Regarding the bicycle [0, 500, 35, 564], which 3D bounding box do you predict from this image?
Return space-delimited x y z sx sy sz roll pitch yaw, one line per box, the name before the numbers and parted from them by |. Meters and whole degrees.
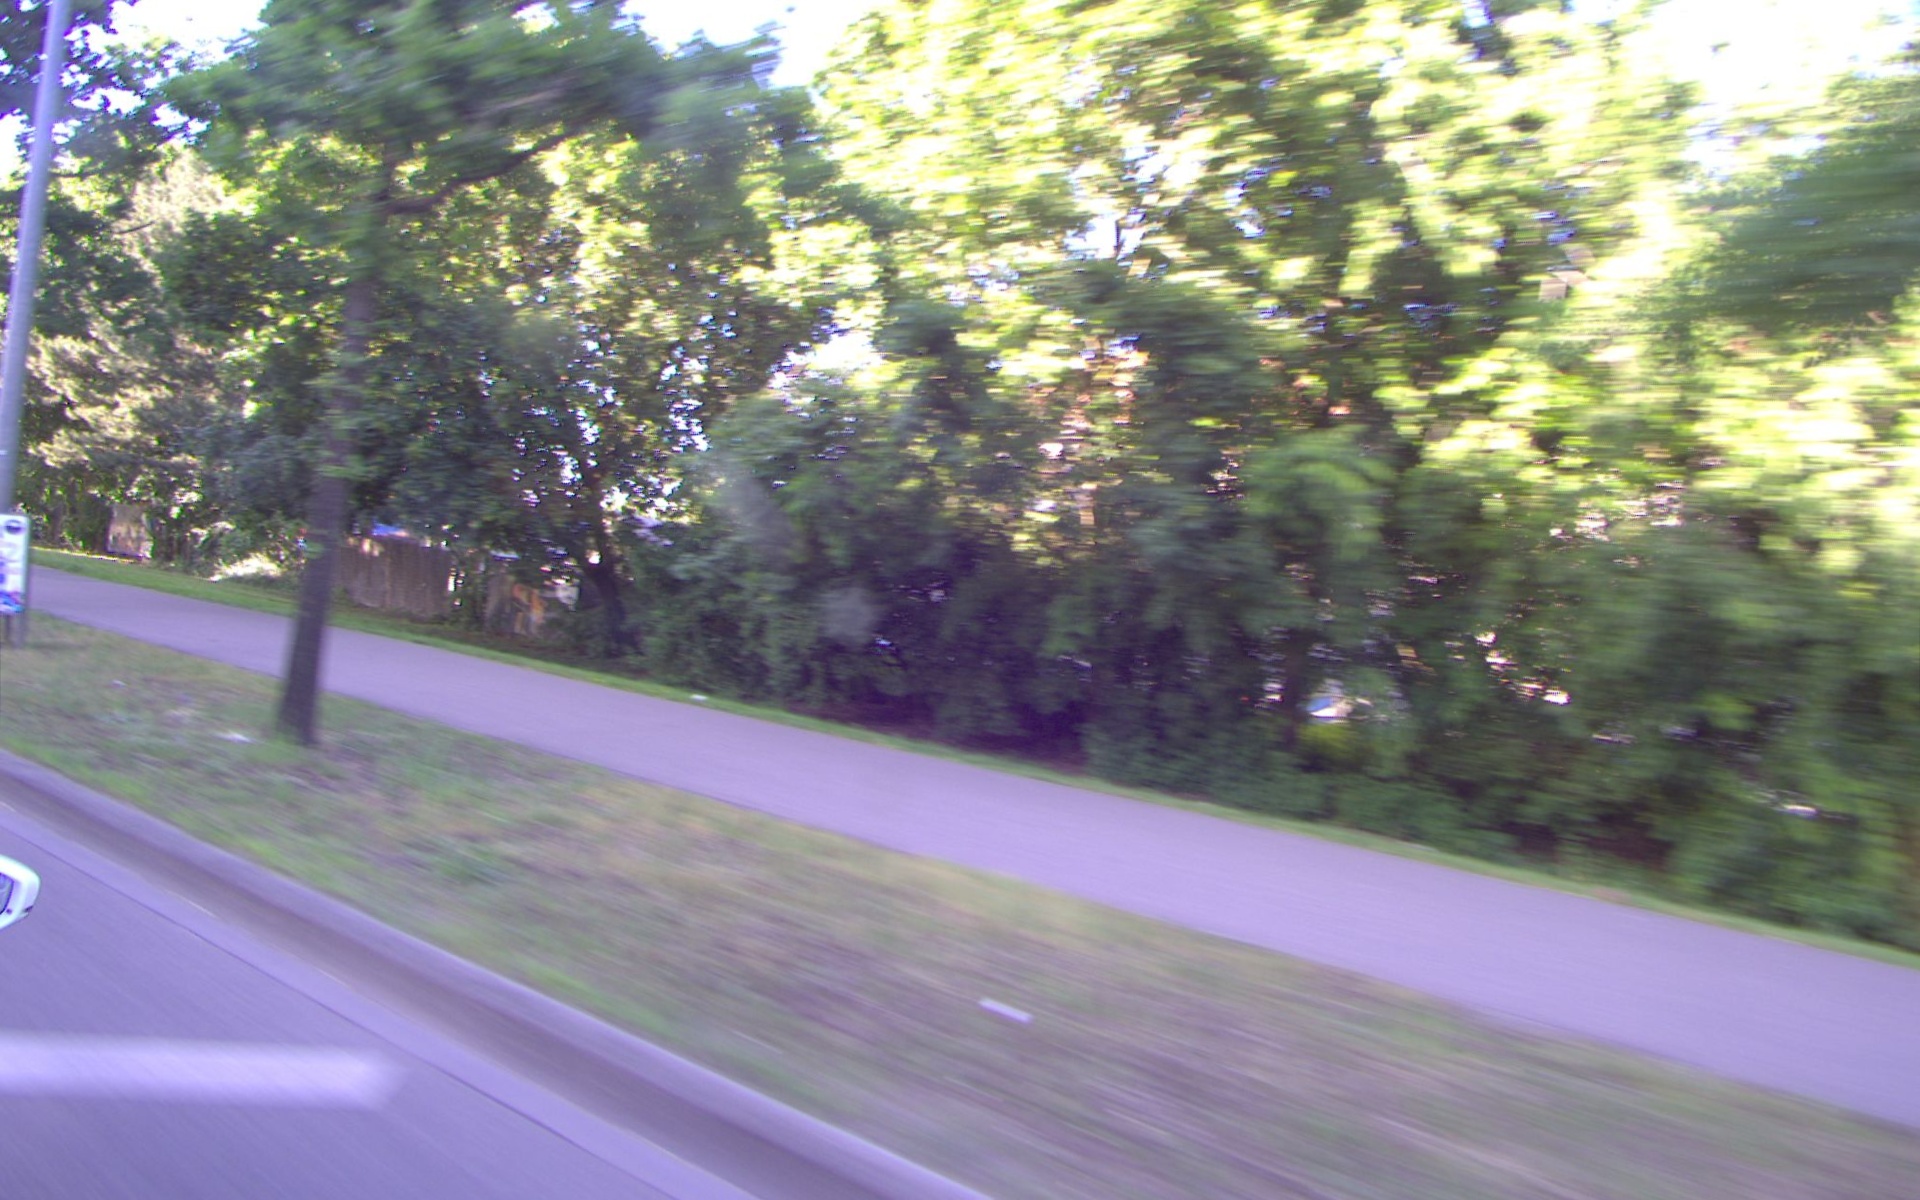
bicycle | -18.853 -1.384 19.669 1.682 1.145 0.774 7 0 37
